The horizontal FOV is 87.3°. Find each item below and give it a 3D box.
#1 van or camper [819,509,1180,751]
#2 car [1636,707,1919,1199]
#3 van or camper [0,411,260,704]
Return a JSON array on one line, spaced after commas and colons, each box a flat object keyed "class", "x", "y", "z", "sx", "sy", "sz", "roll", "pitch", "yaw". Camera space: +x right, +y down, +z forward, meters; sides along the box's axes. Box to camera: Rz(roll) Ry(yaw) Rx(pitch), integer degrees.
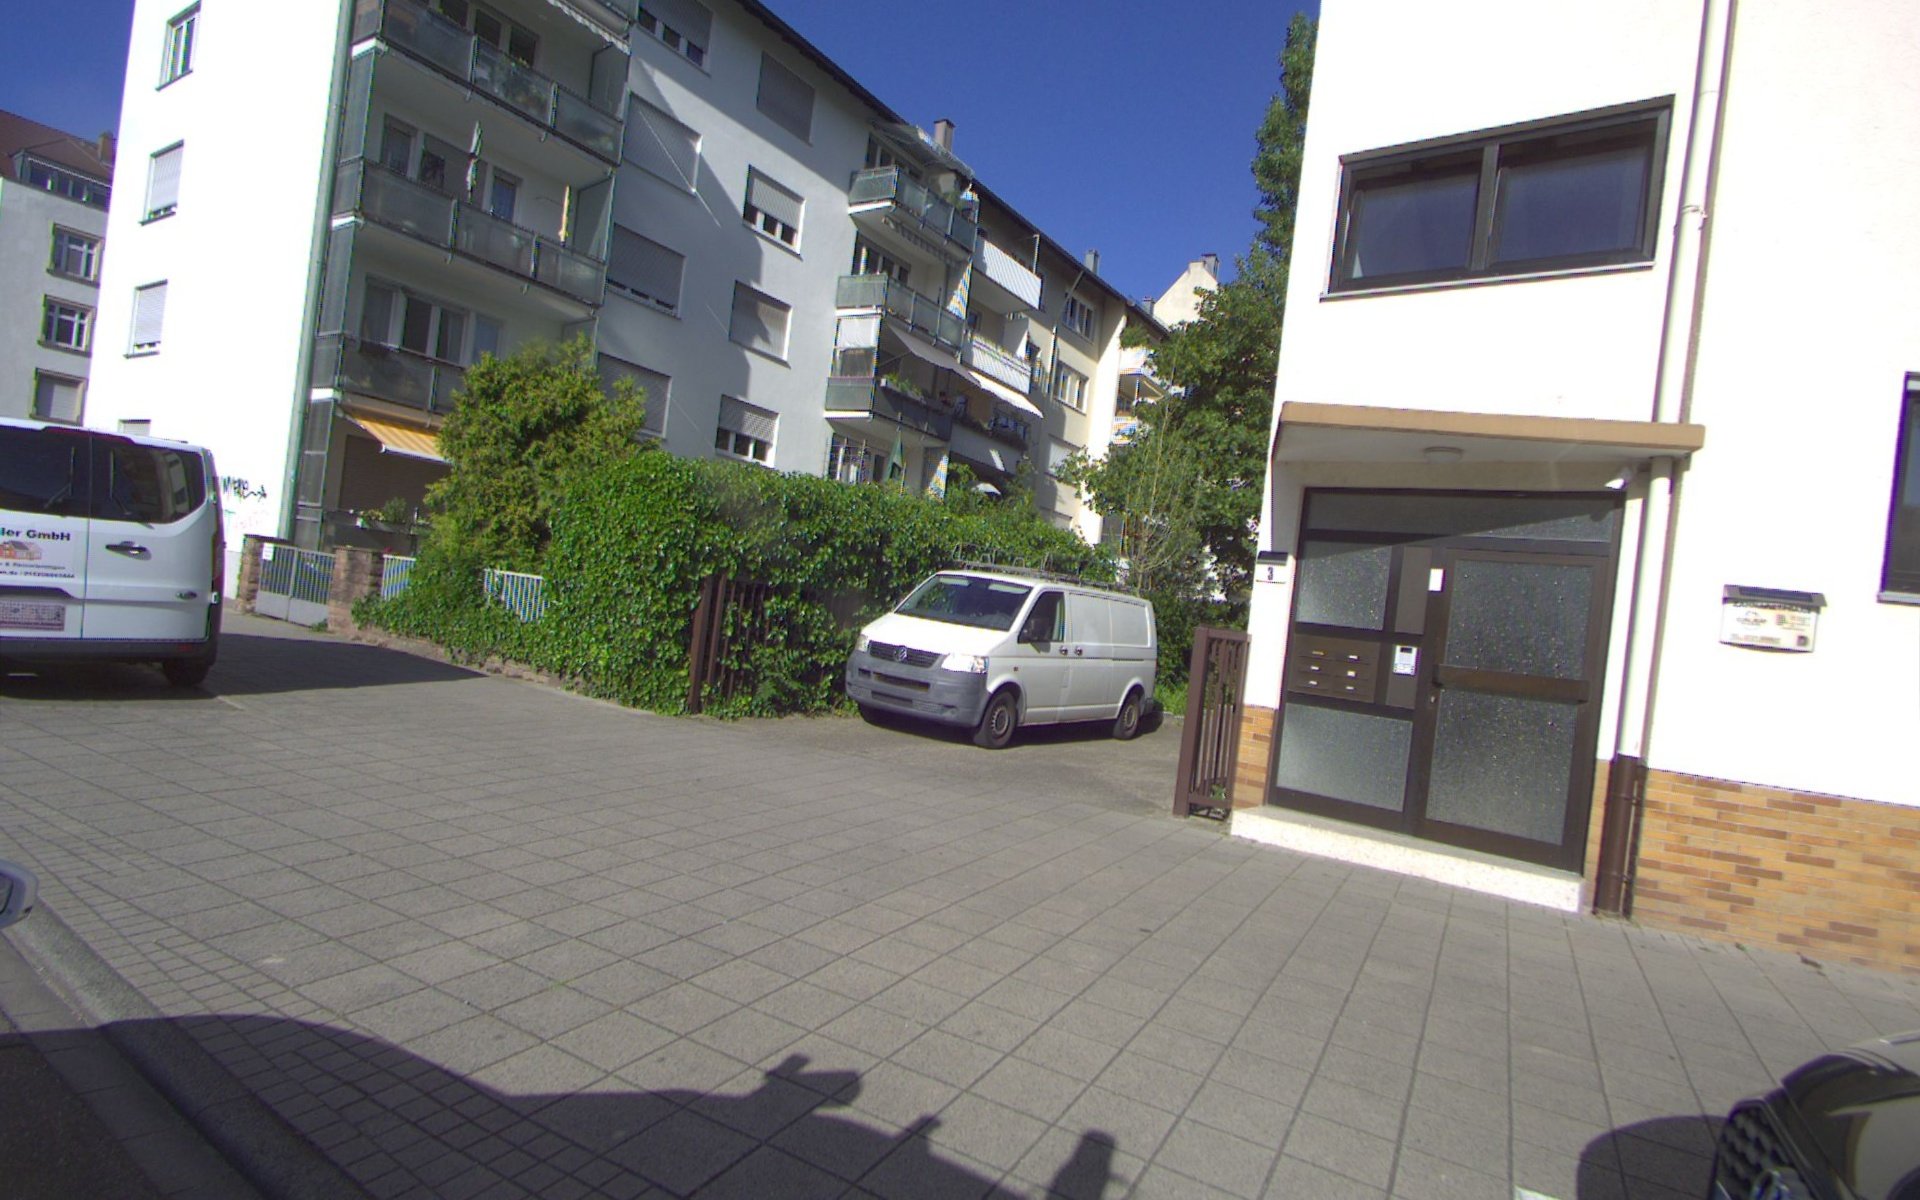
[{"class": "van or camper", "x": 0.753, "y": 0.462, "z": 12.487, "sx": 1.825, "sy": 2.316, "sz": 4.963, "roll": 8, "pitch": 0, "yaw": 36}, {"class": "car", "x": 3.232, "y": 1.165, "z": 0.741, "sx": 4.238, "sy": 1.427, "sz": 1.720, "roll": 7, "pitch": 2, "yaw": 26}, {"class": "van or camper", "x": -8.008, "y": -0.456, "z": 8.564, "sx": 4.633, "sy": 1.972, "sz": 2.018, "roll": 7, "pitch": 1, "yaw": 38}]
